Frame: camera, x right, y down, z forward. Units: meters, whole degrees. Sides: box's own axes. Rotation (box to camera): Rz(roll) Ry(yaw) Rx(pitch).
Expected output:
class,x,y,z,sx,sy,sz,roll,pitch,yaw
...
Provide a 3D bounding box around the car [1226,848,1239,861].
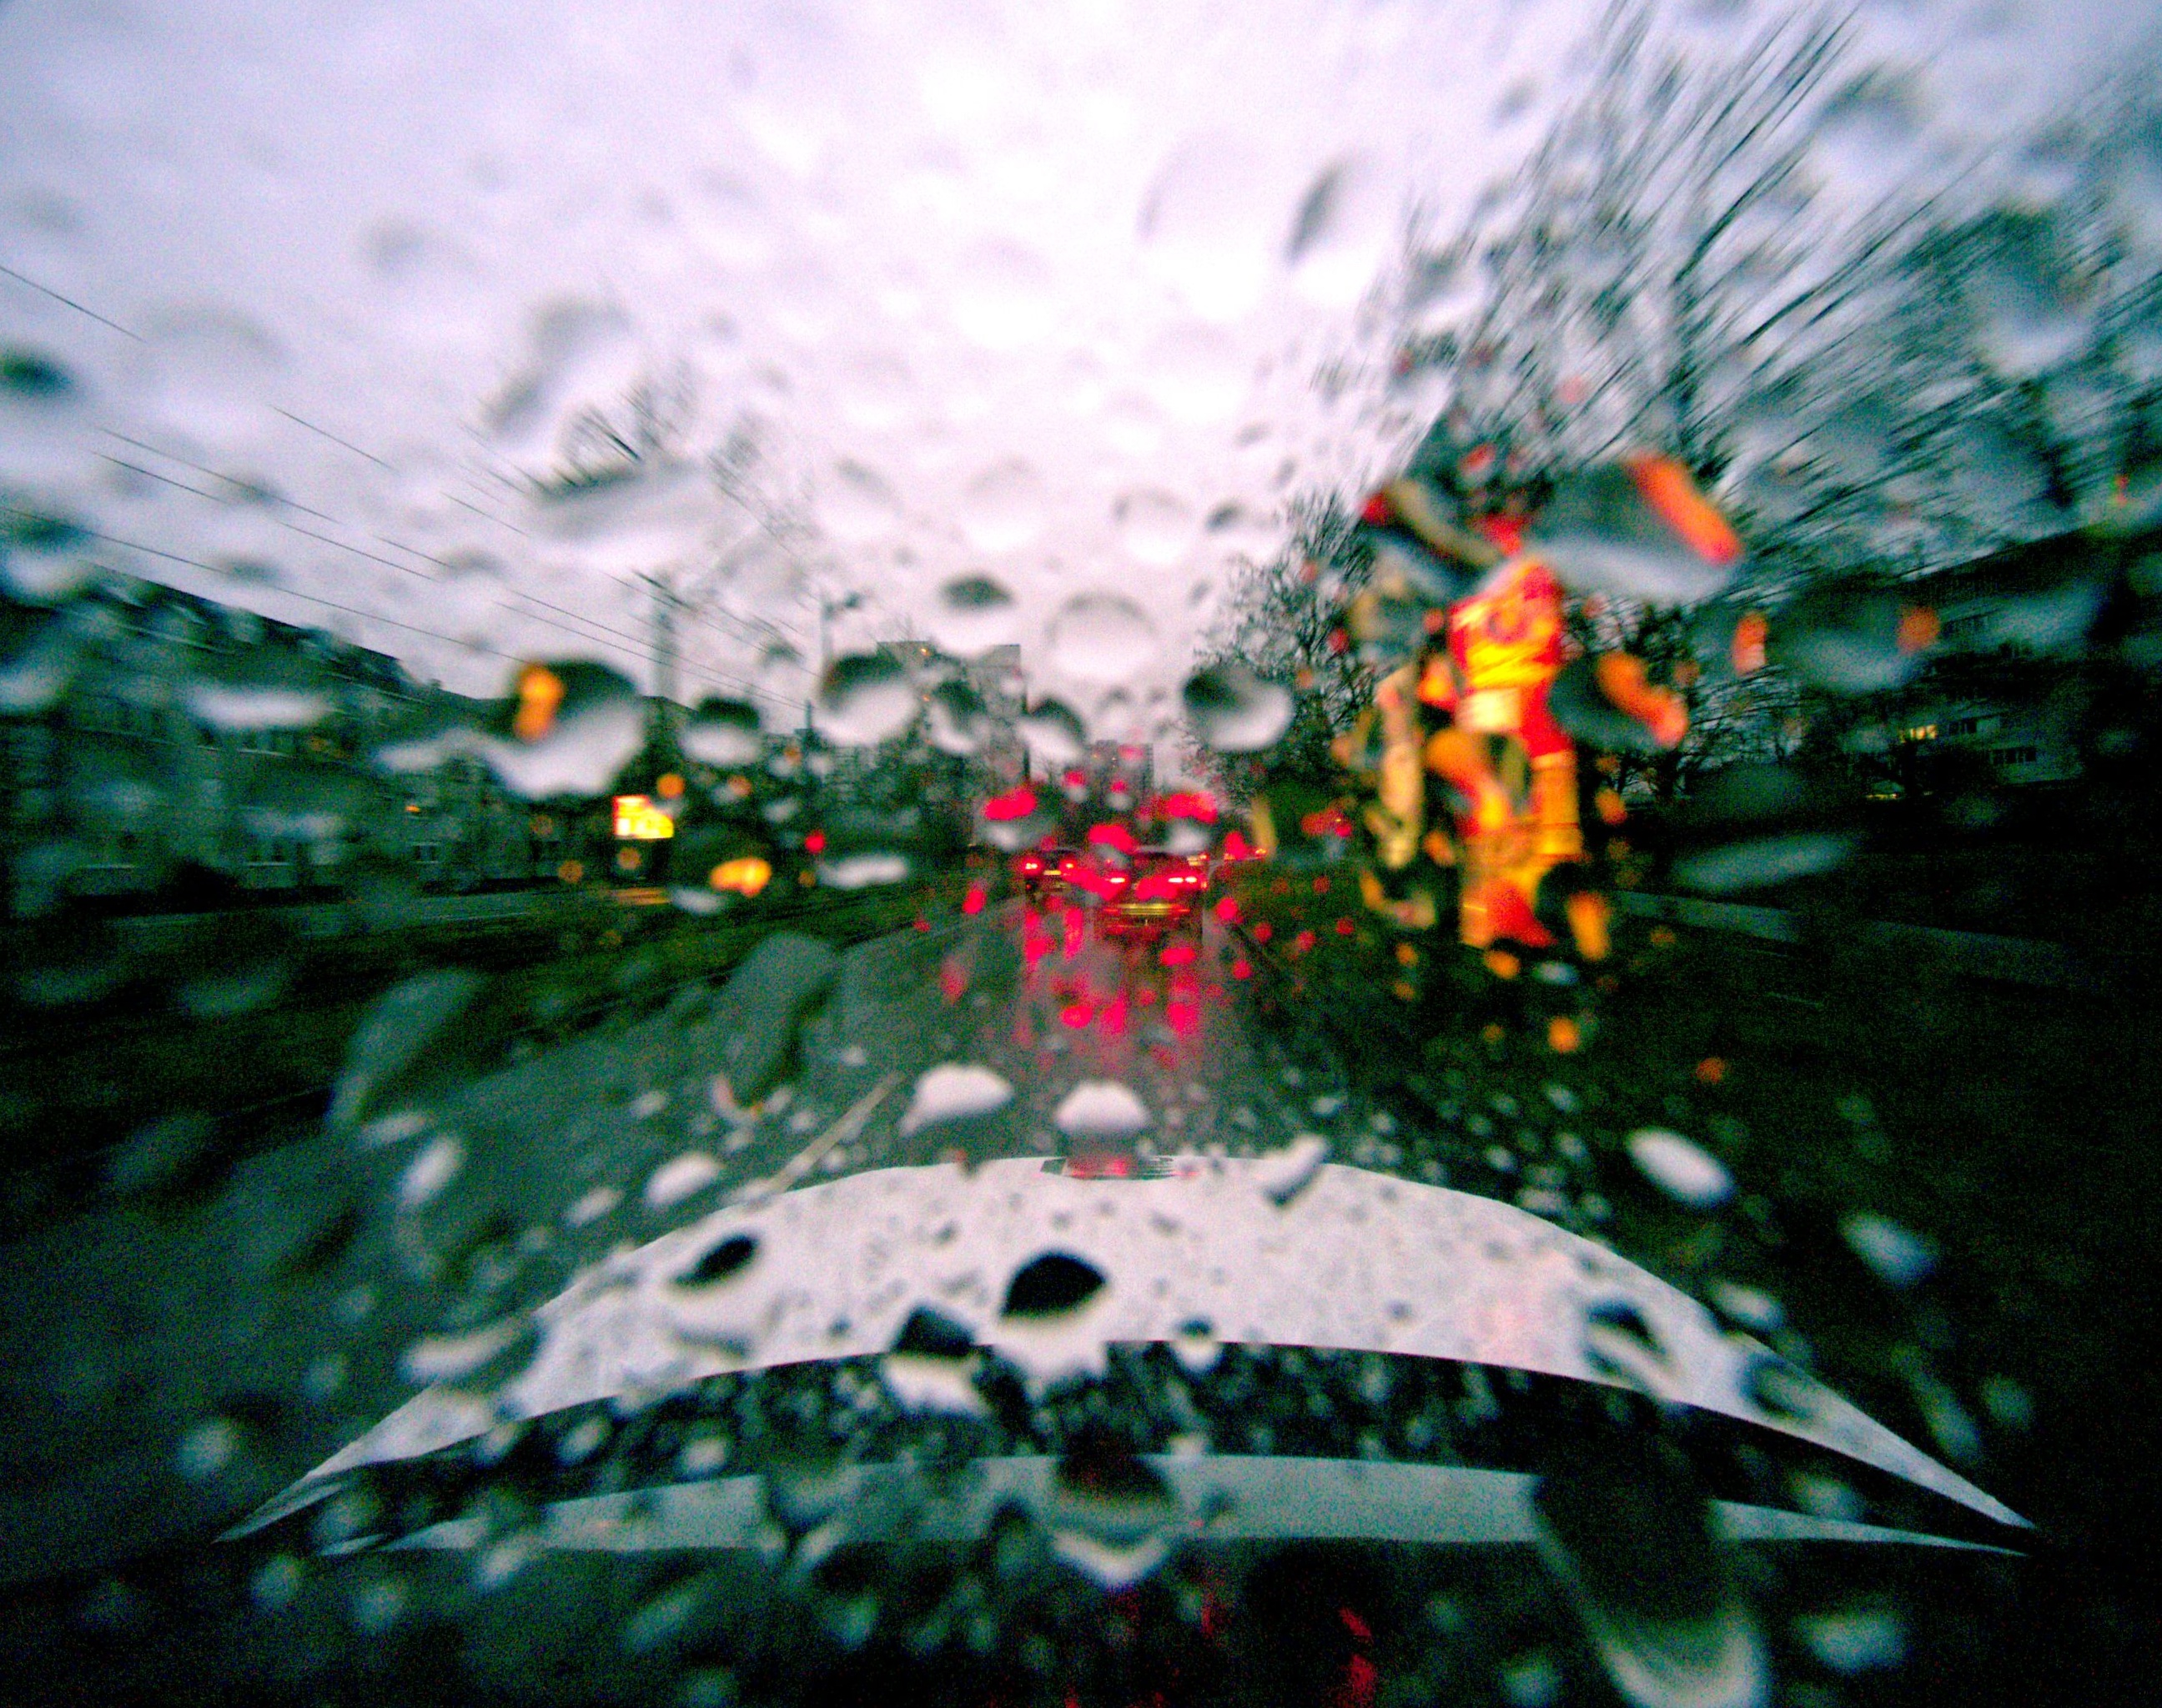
class,x,y,z,sx,sy,sz,roll,pitch,yaw
car,18.078,0.093,97.292,1.525,1.513,3.352,-1,-1,10

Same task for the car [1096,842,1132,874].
class,x,y,z,sx,sy,sz,roll,pitch,yaw
car,1.888,0.202,45.472,1.818,1.739,3.811,-1,0,5

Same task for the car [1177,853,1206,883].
class,x,y,z,sx,sy,sz,roll,pitch,yaw
car,7.462,0.954,55.261,1.847,1.892,4.006,-1,-1,5

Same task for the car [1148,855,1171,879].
class,x,y,z,sx,sy,sz,roll,pitch,yaw
car,6.440,1.044,66.680,1.763,1.892,3.648,-1,-1,5

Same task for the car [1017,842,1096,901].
class,x,y,z,sx,sy,sz,roll,pitch,yaw
car,-0.689,0.565,26.204,1.983,1.712,4.331,-1,-1,6

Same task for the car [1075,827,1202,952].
class,x,y,z,sx,sy,sz,roll,pitch,yaw
car,1.082,0.605,14.913,1.984,1.976,4.073,-1,-1,5
